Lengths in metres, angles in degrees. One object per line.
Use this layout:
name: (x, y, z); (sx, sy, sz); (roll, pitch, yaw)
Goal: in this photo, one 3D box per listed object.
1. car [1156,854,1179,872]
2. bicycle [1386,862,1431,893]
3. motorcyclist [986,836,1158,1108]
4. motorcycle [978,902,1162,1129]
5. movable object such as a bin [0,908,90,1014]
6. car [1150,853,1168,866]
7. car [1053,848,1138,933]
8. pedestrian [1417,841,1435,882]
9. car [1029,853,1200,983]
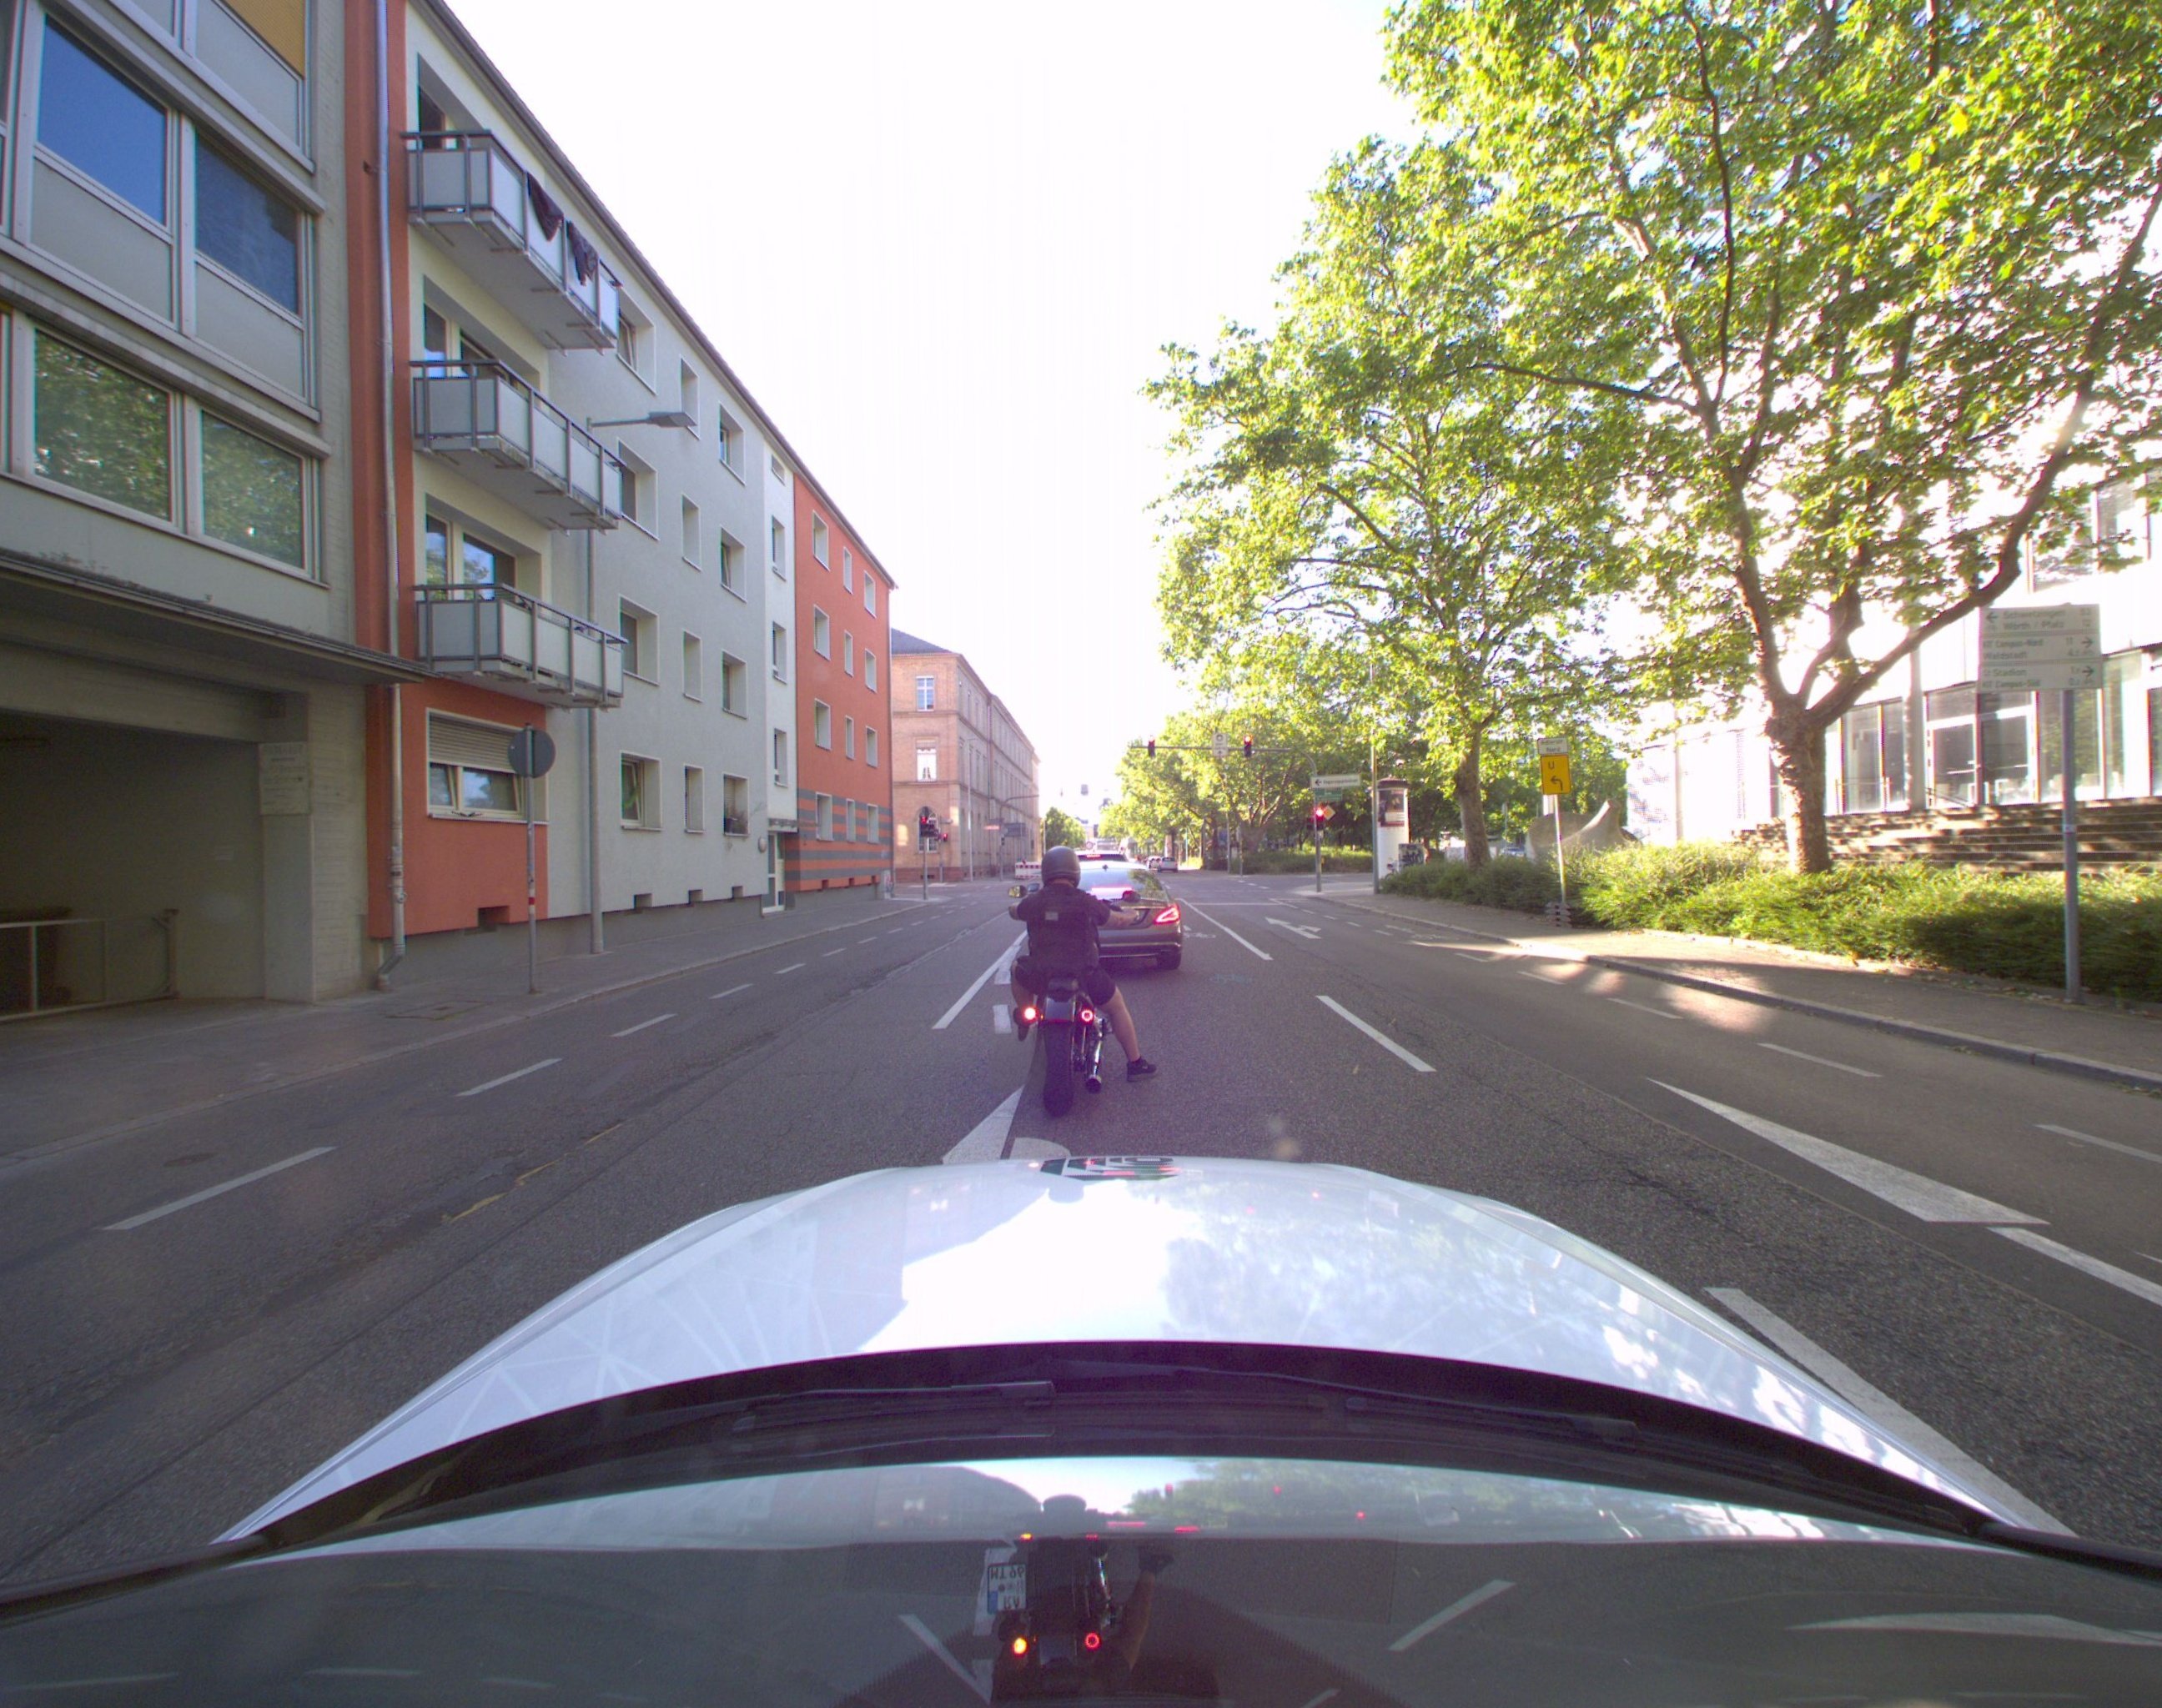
car: (7.741, 0.823, 73.273); (1.814, 1.481, 3.911); (-3, 0, 3)
bicycle: (11.035, 0.789, 27.462); (1.346, 1.023, 0.363); (-1, 0, 2)
motorcyclist: (-0.031, 0.701, 5.538); (0.986, 1.597, 1.404); (-1, 0, 2)
motorcycle: (-0.022, 0.960, 5.691); (0.986, 1.078, 2.453); (-1, 0, 2)
movable object such as a bin: (-11.311, 1.122, 8.691); (0.593, 1.041, 0.703); (0, -1, 1)
car: (8.642, 0.613, 90.058); (1.848, 1.486, 3.912); (0, -1, 3)
car: (0.325, 0.708, 17.899); (1.606, 1.607, 4.329); (-1, 0, 1)
pedestrian: (15.674, 0.341, 36.963); (0.549, 1.849, 0.594); (-1, 0, 3)
car: (0.262, 0.744, 11.729); (1.943, 1.473, 4.355); (-1, 0, -5)
